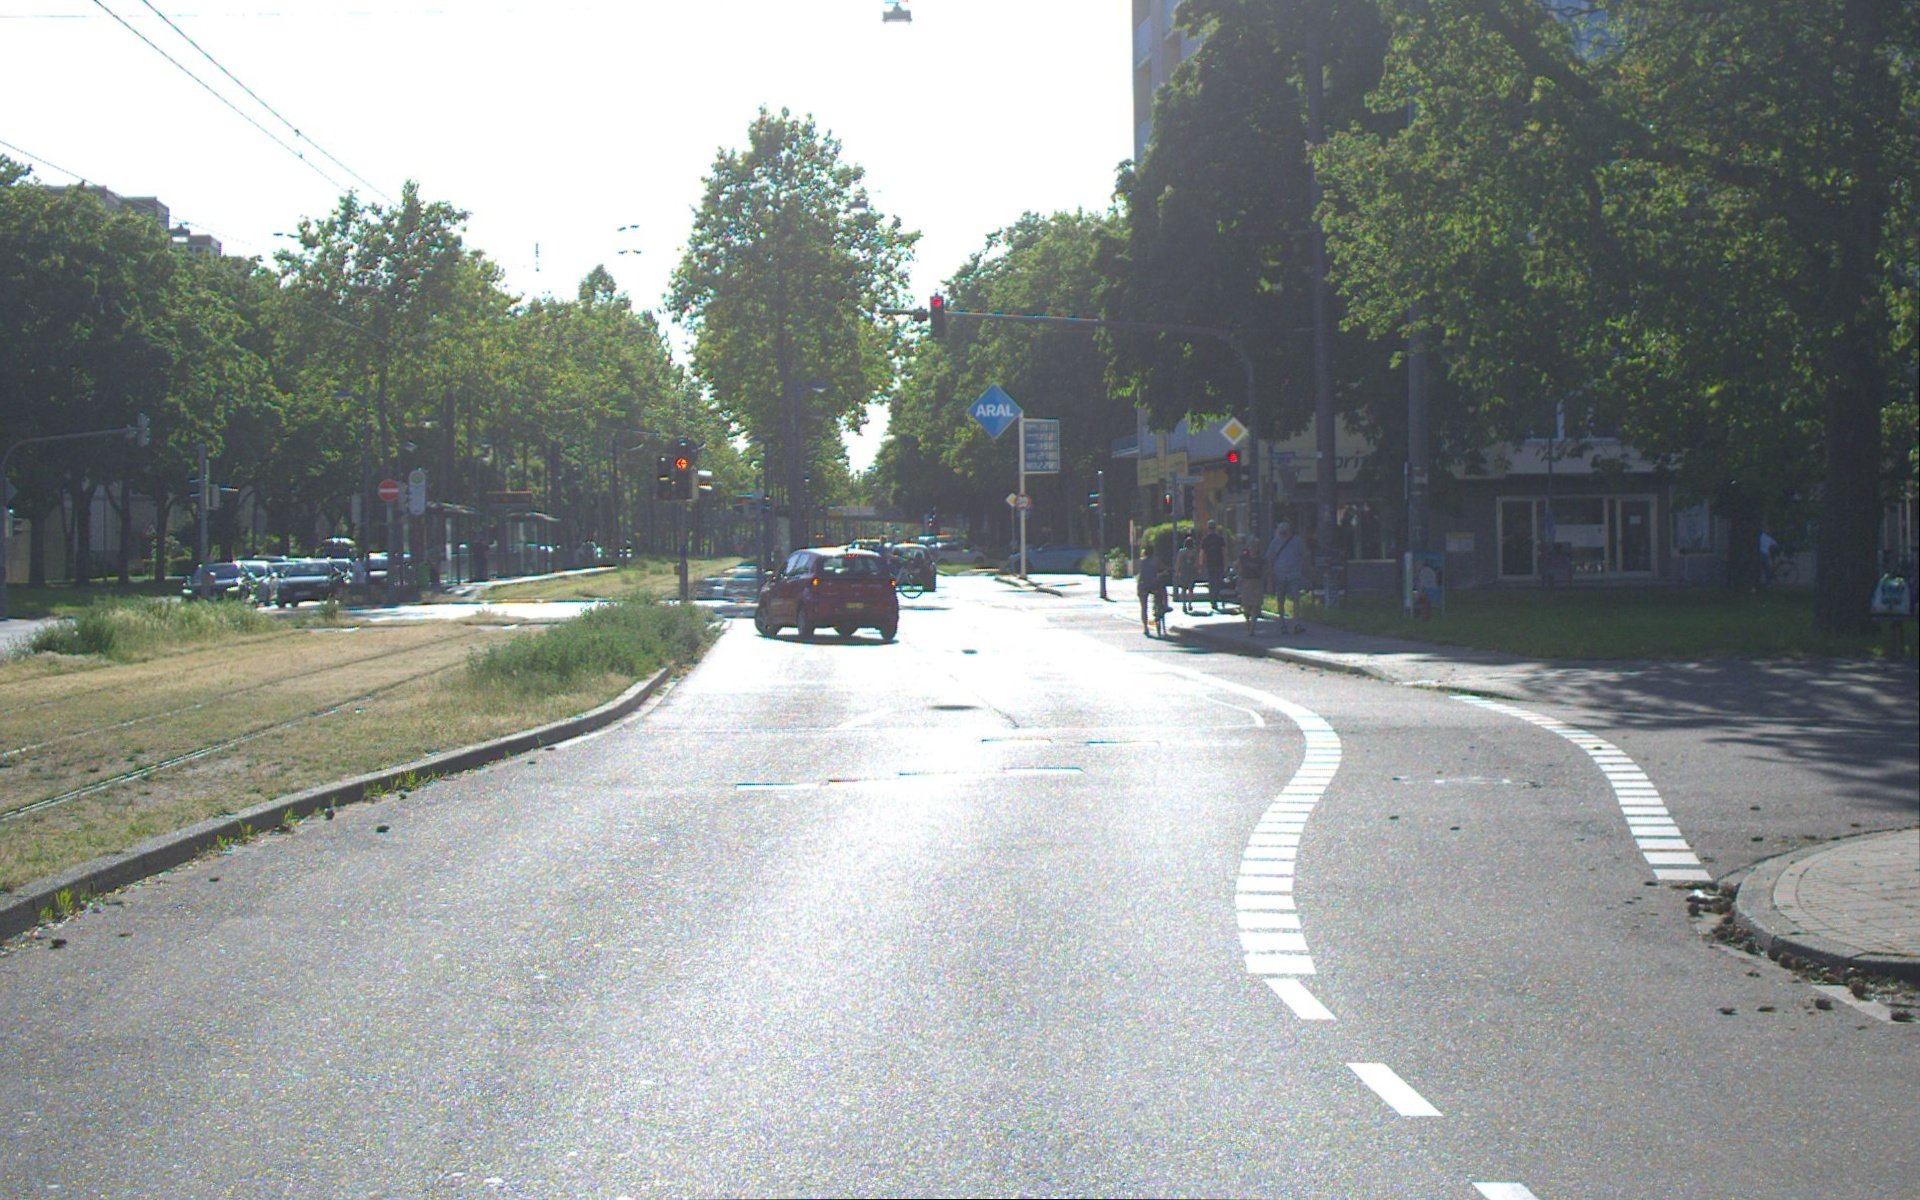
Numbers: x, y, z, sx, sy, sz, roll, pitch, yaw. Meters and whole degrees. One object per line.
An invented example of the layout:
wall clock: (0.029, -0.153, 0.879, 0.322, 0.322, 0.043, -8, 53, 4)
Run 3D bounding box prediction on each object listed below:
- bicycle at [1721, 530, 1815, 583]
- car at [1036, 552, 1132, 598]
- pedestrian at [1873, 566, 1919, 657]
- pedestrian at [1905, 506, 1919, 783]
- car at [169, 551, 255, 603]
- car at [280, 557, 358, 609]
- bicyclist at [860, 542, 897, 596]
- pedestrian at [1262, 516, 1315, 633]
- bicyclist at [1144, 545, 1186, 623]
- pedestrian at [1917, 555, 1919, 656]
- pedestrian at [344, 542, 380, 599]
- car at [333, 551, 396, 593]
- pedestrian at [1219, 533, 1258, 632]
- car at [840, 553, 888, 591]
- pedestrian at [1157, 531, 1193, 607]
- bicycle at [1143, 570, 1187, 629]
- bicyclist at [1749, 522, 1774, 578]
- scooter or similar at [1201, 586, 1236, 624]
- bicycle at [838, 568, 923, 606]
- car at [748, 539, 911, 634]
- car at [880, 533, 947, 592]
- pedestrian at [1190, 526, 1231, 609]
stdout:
bicycle: (22.647, -1.217, 96.348, 2.470, 1.394, 0.608, 1, 1, -3)
car: (5.351, -1.097, 148.028, 3.987, 1.853, 2.011, 2, 1, 4)
pedestrian: (9.914, 0.117, 36.325, 0.404, 0.931, 0.622, 2, 3, 25)
pedestrian: (6.372, 0.270, 21.208, 0.880, 1.716, 0.725, -1, 1, 3)
car: (-22.831, -0.725, 105.069, 1.806, 1.528, 4.361, -1, 1, -2)
car: (-19.658, -0.551, 105.573, 1.687, 1.528, 4.361, -1, 1, -2)
bicyclist: (-2.296, -0.868, 96.527, 0.769, 1.466, 0.897, -1, 2, 15)
pedestrian: (5.155, -0.403, 54.004, 0.703, 1.783, 0.694, -3, 2, 3)
bicyclist: (3.512, -0.283, 58.966, 0.638, 1.318, 0.803, 1, 1, 0)
pedestrian: (10.377, -0.021, 36.247, 0.404, 1.222, 0.760, 2, 1, 25)
pedestrian: (-16.991, -0.849, 97.694, 0.891, 1.601, 0.613, 1, 1, -2)
car: (-20.412, -0.965, 117.909, 1.566, 1.397, 3.915, 1, 1, -2)
pedestrian: (4.395, -0.276, 54.229, 0.529, 1.523, 0.627, -2, 0, 3)
car: (-4.213, -1.237, 150.138, 1.893, 1.605, 4.501, 1, 1, -3)
pedestrian: (4.344, -0.627, 69.462, 0.647, 1.517, 0.496, 2, 1, 10)
bicycle: (3.513, -0.022, 58.947, 0.648, 0.969, 1.803, 1, 1, 1)
bicyclist: (22.328, -1.397, 95.774, 0.527, 1.562, 0.464, 1, 1, -4)
scooter or similar: (5.189, 0.093, 69.119, 0.597, 0.735, 0.681, 1, 1, -3)
bicycle: (-2.228, -0.375, 96.497, 2.253, 0.984, 0.788, 0, 6, 13)
car: (-2.208, -0.248, 57.441, 1.694, 1.503, 3.700, 1, 1, -19)
car: (-1.544, -1.249, 113.373, 1.968, 1.853, 4.001, 1, 1, -4)
pedestrian: (5.083, -0.660, 69.791, 0.730, 1.676, 0.532, 2, 1, 10)
